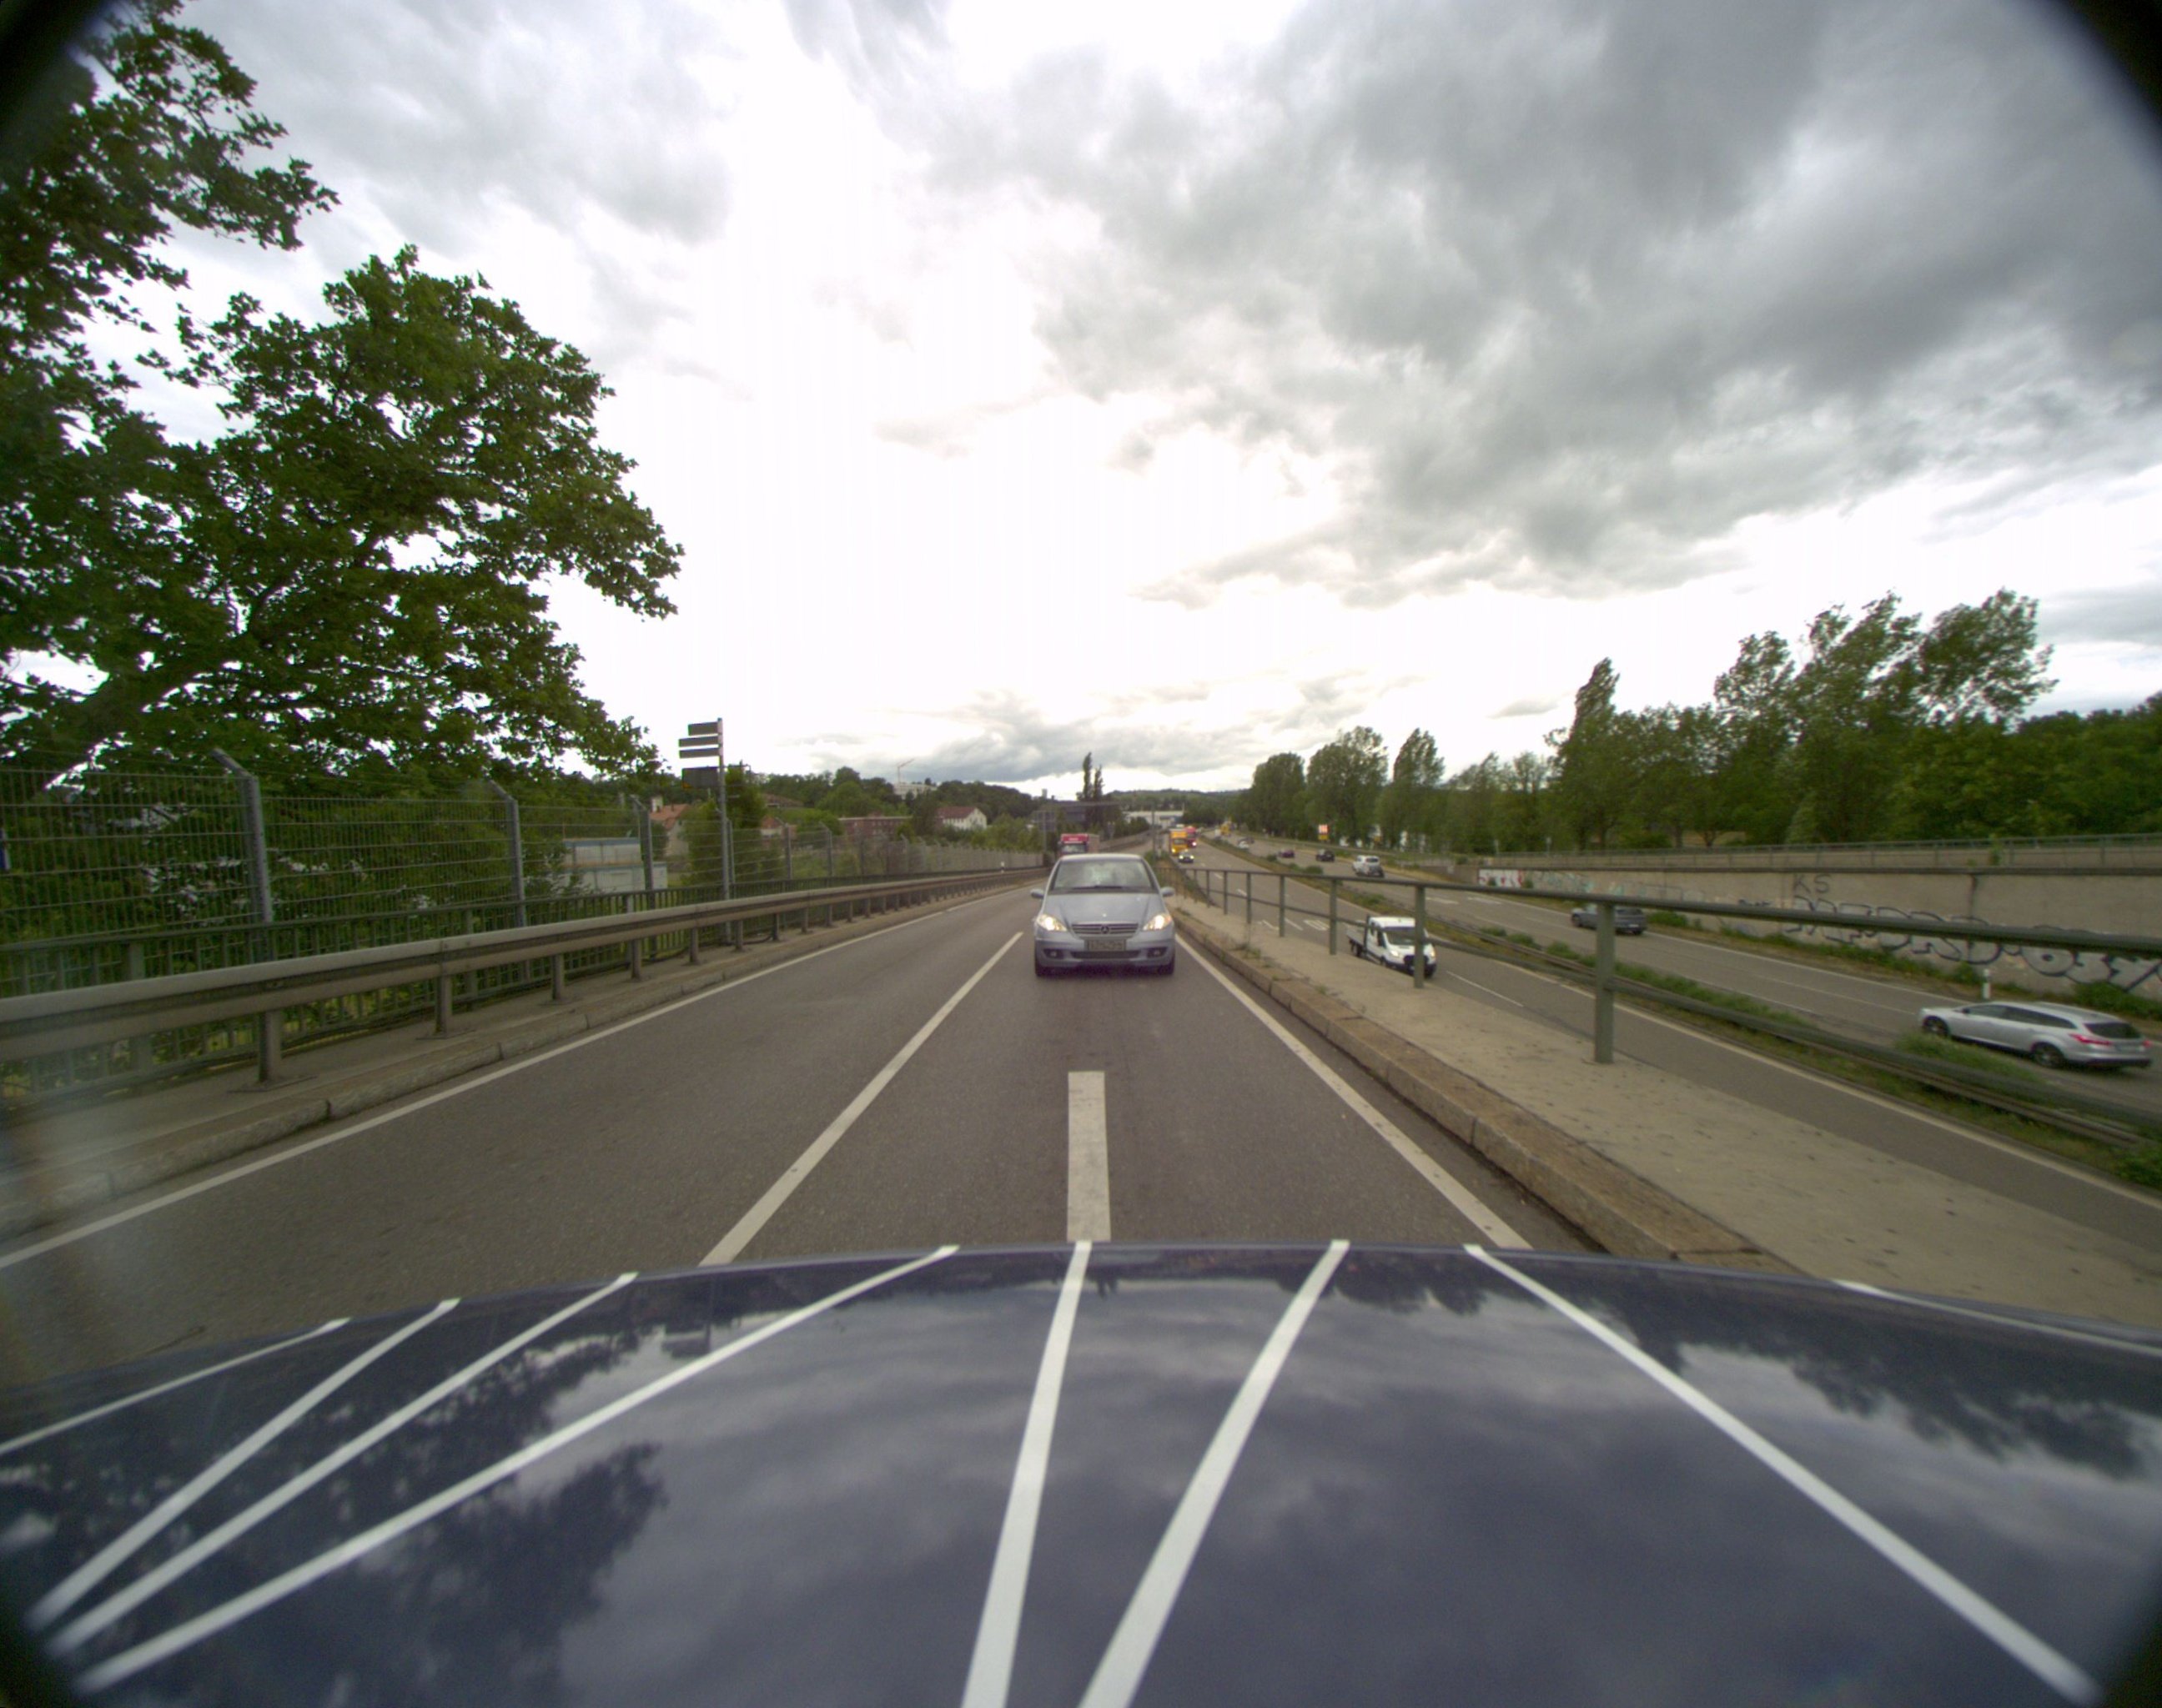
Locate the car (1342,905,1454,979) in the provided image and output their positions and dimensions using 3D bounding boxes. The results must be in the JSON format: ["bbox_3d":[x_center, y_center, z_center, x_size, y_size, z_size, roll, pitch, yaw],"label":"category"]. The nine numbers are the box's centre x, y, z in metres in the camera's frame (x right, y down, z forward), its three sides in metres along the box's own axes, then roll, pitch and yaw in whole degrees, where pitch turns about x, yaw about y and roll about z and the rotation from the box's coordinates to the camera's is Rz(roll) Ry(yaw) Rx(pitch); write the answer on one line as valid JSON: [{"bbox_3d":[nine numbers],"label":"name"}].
[{"bbox_3d":[13.898,3.774,33.906,2.351,2.220,6.552,0,3,1],"label":"car"}]

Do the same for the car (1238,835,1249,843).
[{"bbox_3d":[36.675,-3.393,171.581,1.997,1.707,3.640,1,2,5],"label":"car"}]

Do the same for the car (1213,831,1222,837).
[{"bbox_3d":[37.154,-5.407,206.723,1.998,1.707,3.640,1,2,4],"label":"car"}]

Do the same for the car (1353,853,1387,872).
[{"bbox_3d":[33.621,0.968,88.495,2.595,2.003,4.641,0,3,5],"label":"car"}]

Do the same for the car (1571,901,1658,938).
[{"bbox_3d":[30.549,3.709,43.721,1.998,1.609,4.328,0,2,1],"label":"car"}]

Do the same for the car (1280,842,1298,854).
[{"bbox_3d":[32.111,-0.898,117.325,1.997,1.707,3.640,1,2,6],"label":"car"}]

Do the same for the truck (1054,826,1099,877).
[{"bbox_3d":[-0.326,-0.244,69.432,3.668,4.296,7.236,-2,0,2],"label":"truck"}]

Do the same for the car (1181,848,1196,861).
[{"bbox_3d":[14.970,0.044,105.695,1.878,1.688,3.840,0,2,5],"label":"car"}]

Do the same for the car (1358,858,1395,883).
[{"bbox_3d":[29.762,1.631,76.566,2.223,2.003,4.639,0,5,5],"label":"car"}]

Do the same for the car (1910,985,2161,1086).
[{"bbox_3d":[26.575,4.957,21.324,1.998,1.609,4.329,1,2,5],"label":"car"}]

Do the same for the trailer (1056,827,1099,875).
[{"bbox_3d":[-0.155,-0.308,75.856,3.668,4.296,13.782,-2,0,2],"label":"trailer"}]

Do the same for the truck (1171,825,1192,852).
[{"bbox_3d":[16.783,-2.644,127.165,2.900,4.161,10.023,1,3,4],"label":"truck"}]

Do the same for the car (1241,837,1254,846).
[{"bbox_3d":[32.169,-2.342,146.881,1.997,1.707,3.640,1,2,6],"label":"car"}]

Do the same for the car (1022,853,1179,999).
[{"bbox_3d":[0.279,0.833,10.600,1.747,1.594,3.682,-2,1,2],"label":"car"}]

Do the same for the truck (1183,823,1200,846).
[{"bbox_3d":[23.046,-4.215,158.397,2.887,4.333,13.257,-1,3,6],"label":"truck"}]

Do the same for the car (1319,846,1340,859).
[{"bbox_3d":[35.054,-0.193,107.241,1.997,1.758,3.483,1,2,6],"label":"car"}]
